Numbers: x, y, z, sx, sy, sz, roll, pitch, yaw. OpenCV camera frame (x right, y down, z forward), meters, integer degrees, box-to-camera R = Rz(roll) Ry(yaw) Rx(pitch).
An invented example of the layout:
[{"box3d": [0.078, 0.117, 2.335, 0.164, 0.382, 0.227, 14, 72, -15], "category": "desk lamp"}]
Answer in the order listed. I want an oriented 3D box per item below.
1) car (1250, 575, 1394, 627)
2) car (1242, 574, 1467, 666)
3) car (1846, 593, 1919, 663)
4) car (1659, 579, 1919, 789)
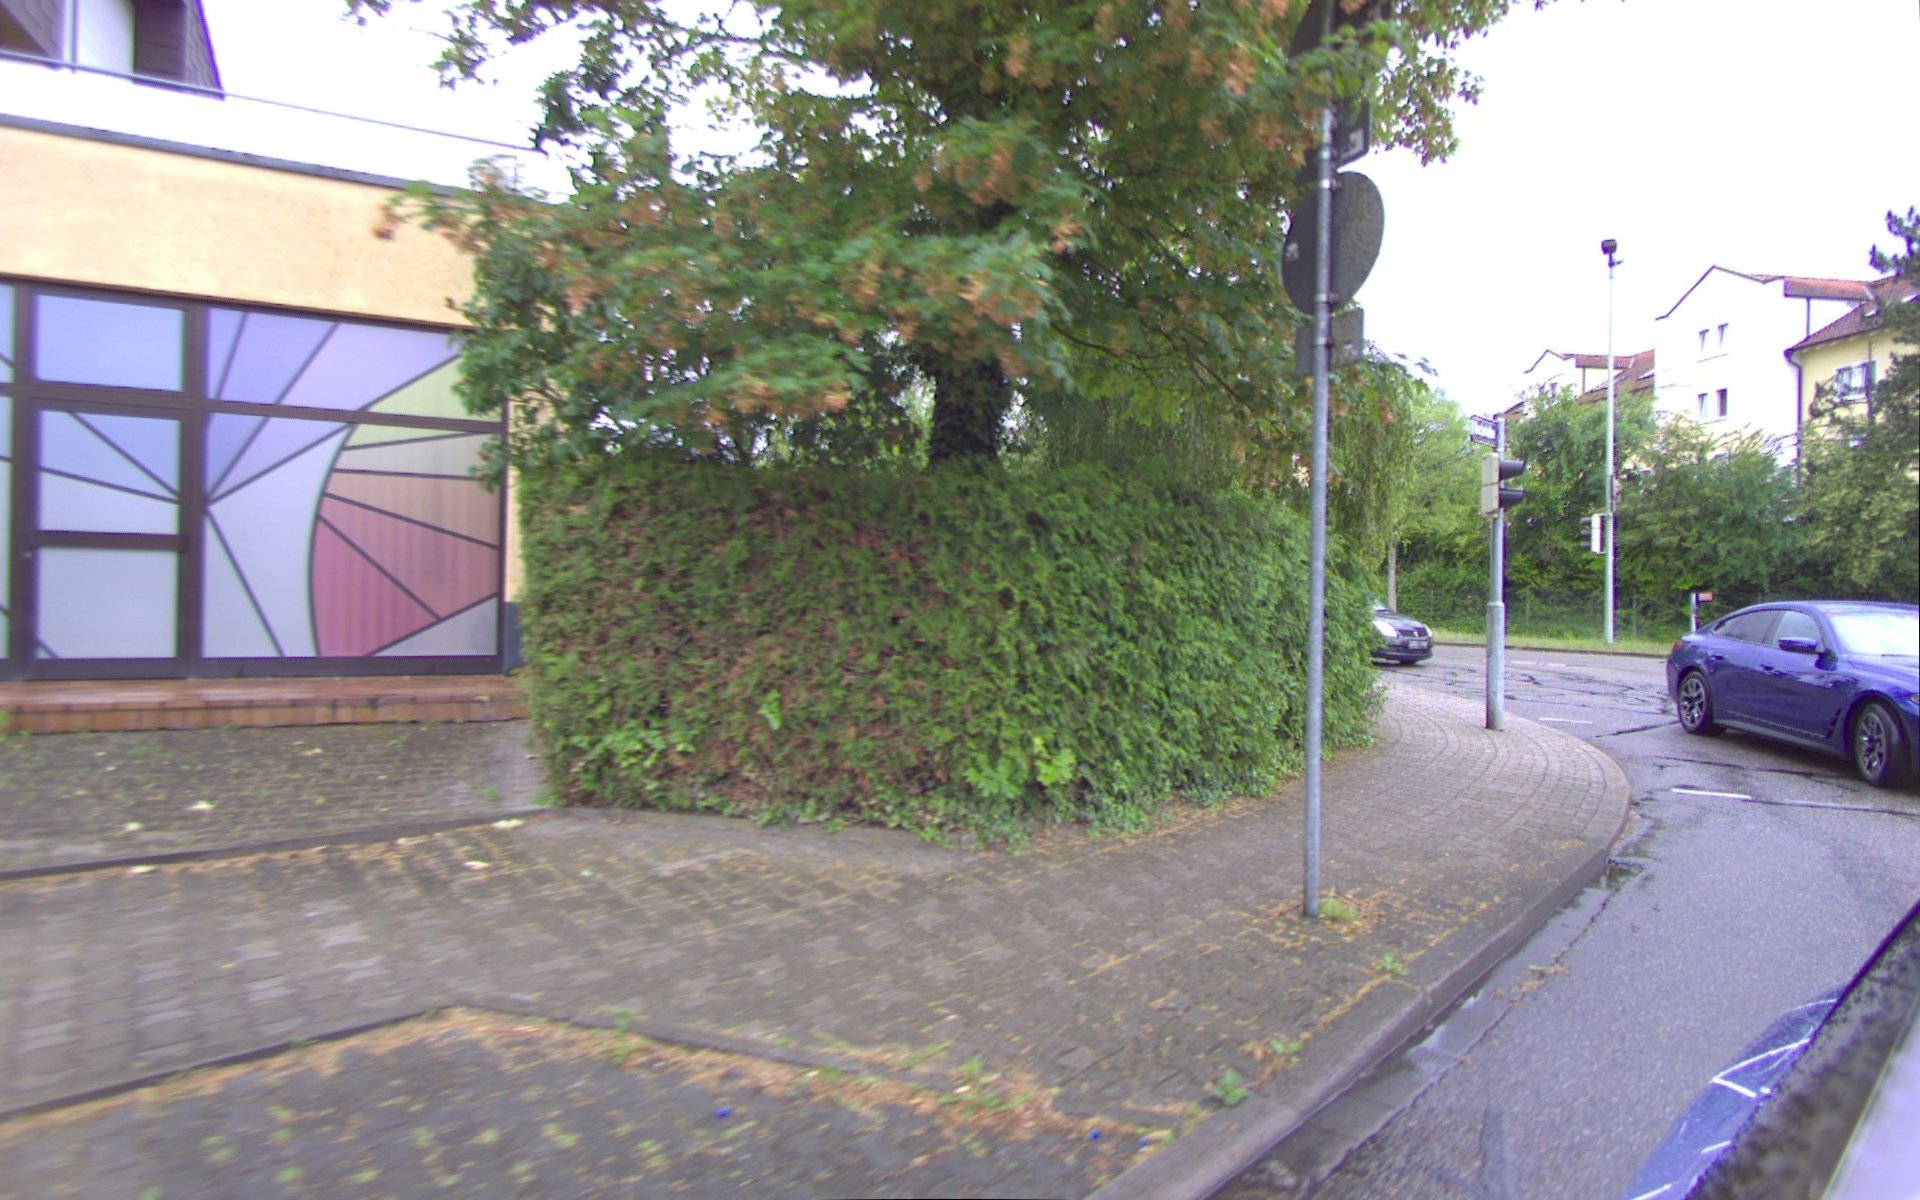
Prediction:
[{"box3d": [11.750, -0.017, 33.030, 1.892, 1.519, 3.995, -1, 2, -40], "category": "car"}, {"box3d": [7.428, 0.354, 19.506, 1.711, 1.538, 4.007, -2, 0, -22], "category": "car"}, {"box3d": [20.938, 0.630, 21.071, 1.493, 1.475, 3.447, 3, -1, -16], "category": "car"}, {"box3d": [8.505, 0.596, 9.285, 1.885, 1.514, 4.334, -1, 1, 12], "category": "car"}]
